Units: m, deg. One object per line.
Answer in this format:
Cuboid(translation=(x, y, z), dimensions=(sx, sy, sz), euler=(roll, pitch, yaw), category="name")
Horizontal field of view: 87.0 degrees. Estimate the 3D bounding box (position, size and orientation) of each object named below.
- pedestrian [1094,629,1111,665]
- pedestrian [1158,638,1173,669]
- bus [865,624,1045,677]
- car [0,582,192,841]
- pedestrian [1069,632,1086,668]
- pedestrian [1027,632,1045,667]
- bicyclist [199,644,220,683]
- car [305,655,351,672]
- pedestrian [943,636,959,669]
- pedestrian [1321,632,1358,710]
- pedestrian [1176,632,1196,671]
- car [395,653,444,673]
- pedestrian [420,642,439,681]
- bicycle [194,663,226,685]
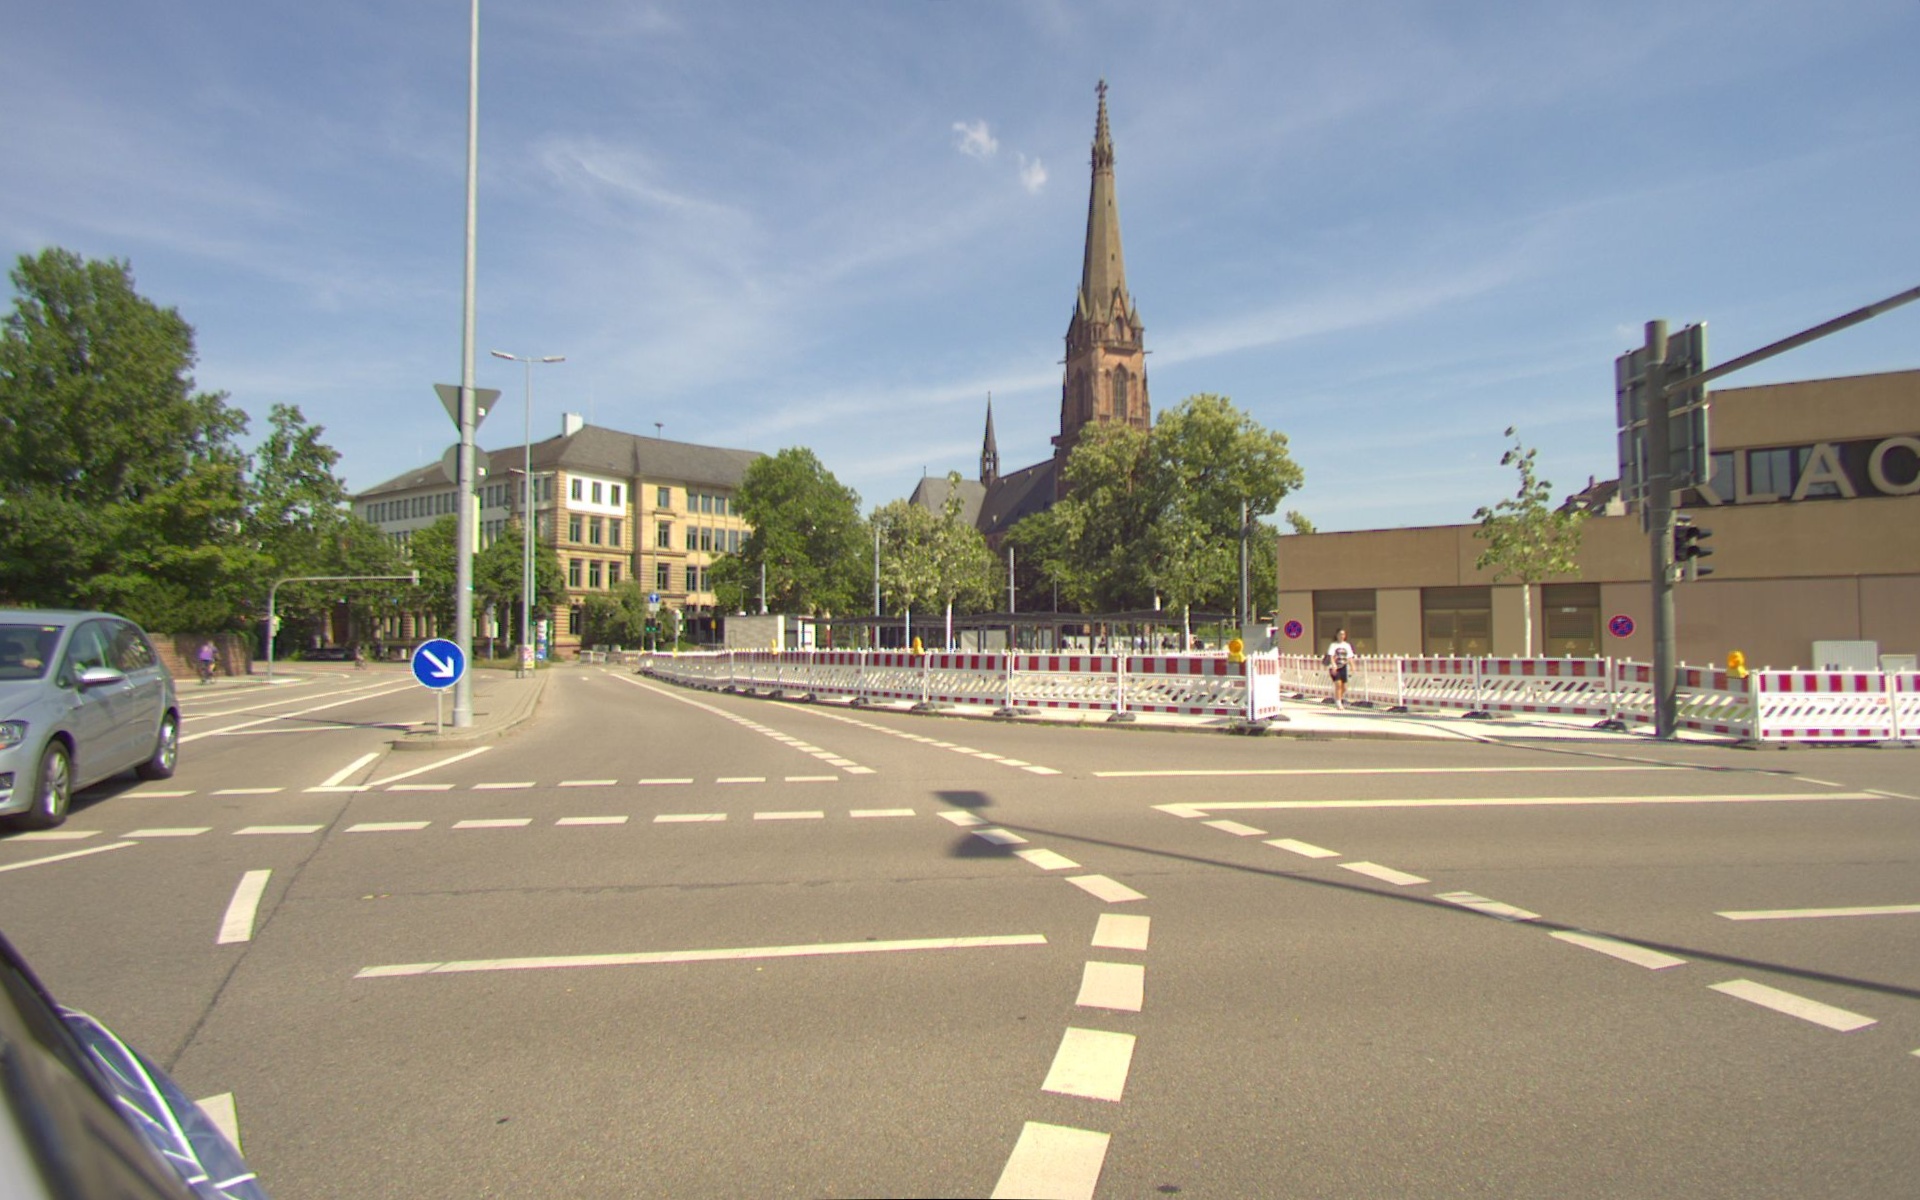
Cuboid(translation=(8.237, 2.709, 58.528), dimensions=(0.685, 2.029, 0.810), euler=(-2, -3, 37), category="pedestrian")
Cuboid(translation=(11.438, 2.974, 56.331), dimensions=(0.739, 1.674, 0.815), euler=(-1, -3, 20), category="pedestrian")
Cuboid(translation=(-0.534, 3.429, 67.483), dimensions=(12.383, 3.117, 3.096), euler=(-4, -2, 35), category="bus")
Cuboid(translation=(-7.505, 0.773, 7.745), dimensions=(1.660, 1.598, 4.165), euler=(1, -3, -24), category="car")
Cuboid(translation=(6.792, 2.902, 58.549), dimensions=(0.685, 2.029, 0.810), euler=(-3, -4, 37), category="pedestrian")
Cuboid(translation=(4.520, 2.945, 60.316), dimensions=(0.818, 2.029, 0.679), euler=(-2, -4, 32), category="pedestrian")
Cuboid(translation=(-32.257, 2.723, 43.524), dimensions=(0.480, 1.649, 1.088), euler=(1, -3, -25), category="bicyclist")
Cuboid(translation=(-70.646, 7.068, 113.157), dimensions=(1.993, 1.674, 3.957), euler=(0, 0, 32), category="car")
Cuboid(translation=(-0.537, 3.265, 63.031), dimensions=(0.806, 2.029, 0.688), euler=(1, -3, -20), category="pedestrian")
Cuboid(translation=(7.803, 1.449, 20.844), dimensions=(0.549, 1.577, 0.424), euler=(0, -3, -5), category="pedestrian")
Cuboid(translation=(12.095, 2.761, 54.126), dimensions=(0.686, 2.029, 0.809), euler=(-3, -4, 43), category="pedestrian")
Cuboid(translation=(-54.770, 6.368, 102.614), dimensions=(1.994, 1.674, 3.956), euler=(0, 0, 33), category="car")
Cuboid(translation=(-28.426, 3.286, 54.209), dimensions=(0.782, 2.029, 0.617), euler=(2, -4, -37), category="pedestrian")
Cuboid(translation=(-31.956, 3.137, 43.162), dimensions=(0.673, 0.894, 1.939), euler=(1, -3, -24), category="bicycle")
